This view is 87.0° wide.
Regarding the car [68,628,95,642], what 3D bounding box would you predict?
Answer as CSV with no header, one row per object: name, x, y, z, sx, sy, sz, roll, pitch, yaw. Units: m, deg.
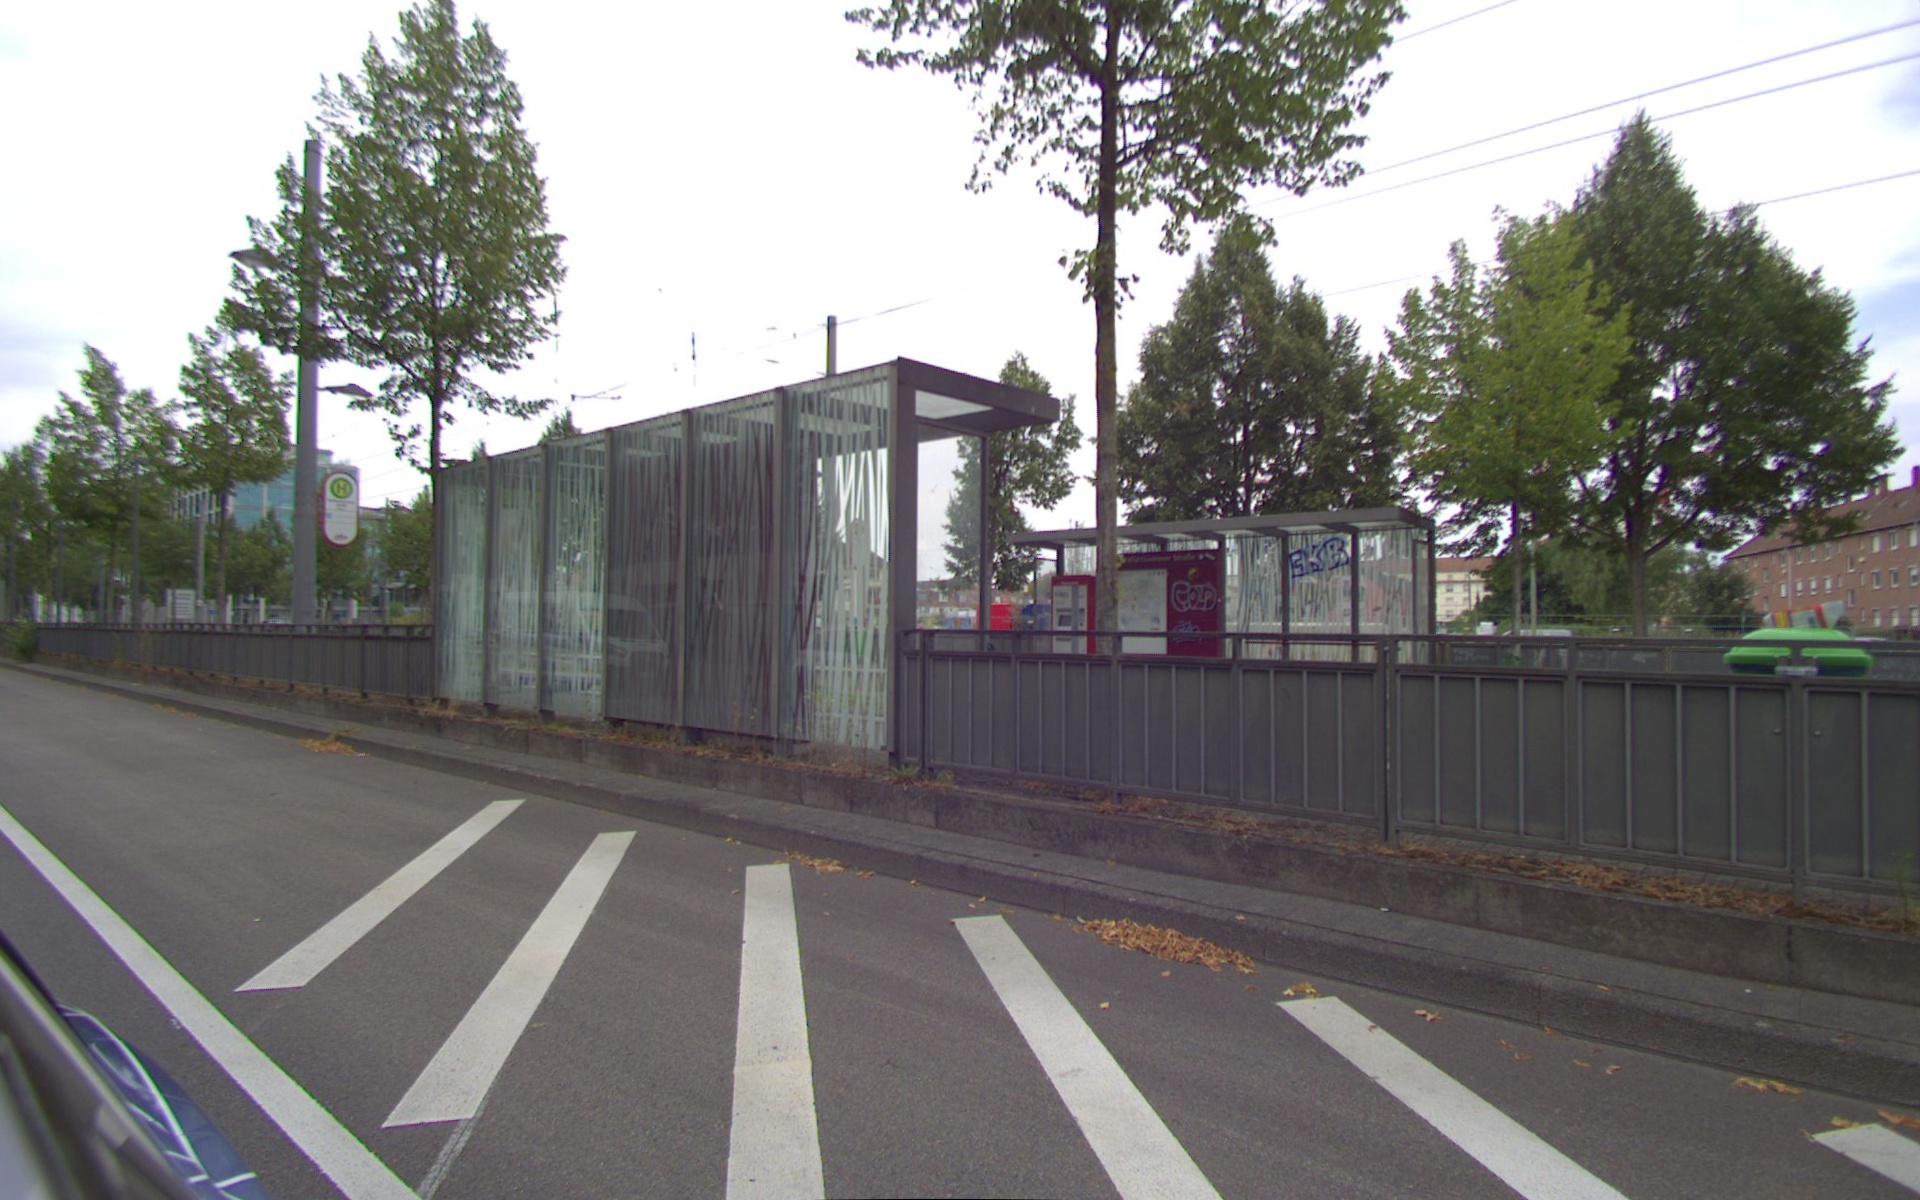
car,-111.734,4.457,128.650,4.686,1.669,1.809,-2,-2,39
